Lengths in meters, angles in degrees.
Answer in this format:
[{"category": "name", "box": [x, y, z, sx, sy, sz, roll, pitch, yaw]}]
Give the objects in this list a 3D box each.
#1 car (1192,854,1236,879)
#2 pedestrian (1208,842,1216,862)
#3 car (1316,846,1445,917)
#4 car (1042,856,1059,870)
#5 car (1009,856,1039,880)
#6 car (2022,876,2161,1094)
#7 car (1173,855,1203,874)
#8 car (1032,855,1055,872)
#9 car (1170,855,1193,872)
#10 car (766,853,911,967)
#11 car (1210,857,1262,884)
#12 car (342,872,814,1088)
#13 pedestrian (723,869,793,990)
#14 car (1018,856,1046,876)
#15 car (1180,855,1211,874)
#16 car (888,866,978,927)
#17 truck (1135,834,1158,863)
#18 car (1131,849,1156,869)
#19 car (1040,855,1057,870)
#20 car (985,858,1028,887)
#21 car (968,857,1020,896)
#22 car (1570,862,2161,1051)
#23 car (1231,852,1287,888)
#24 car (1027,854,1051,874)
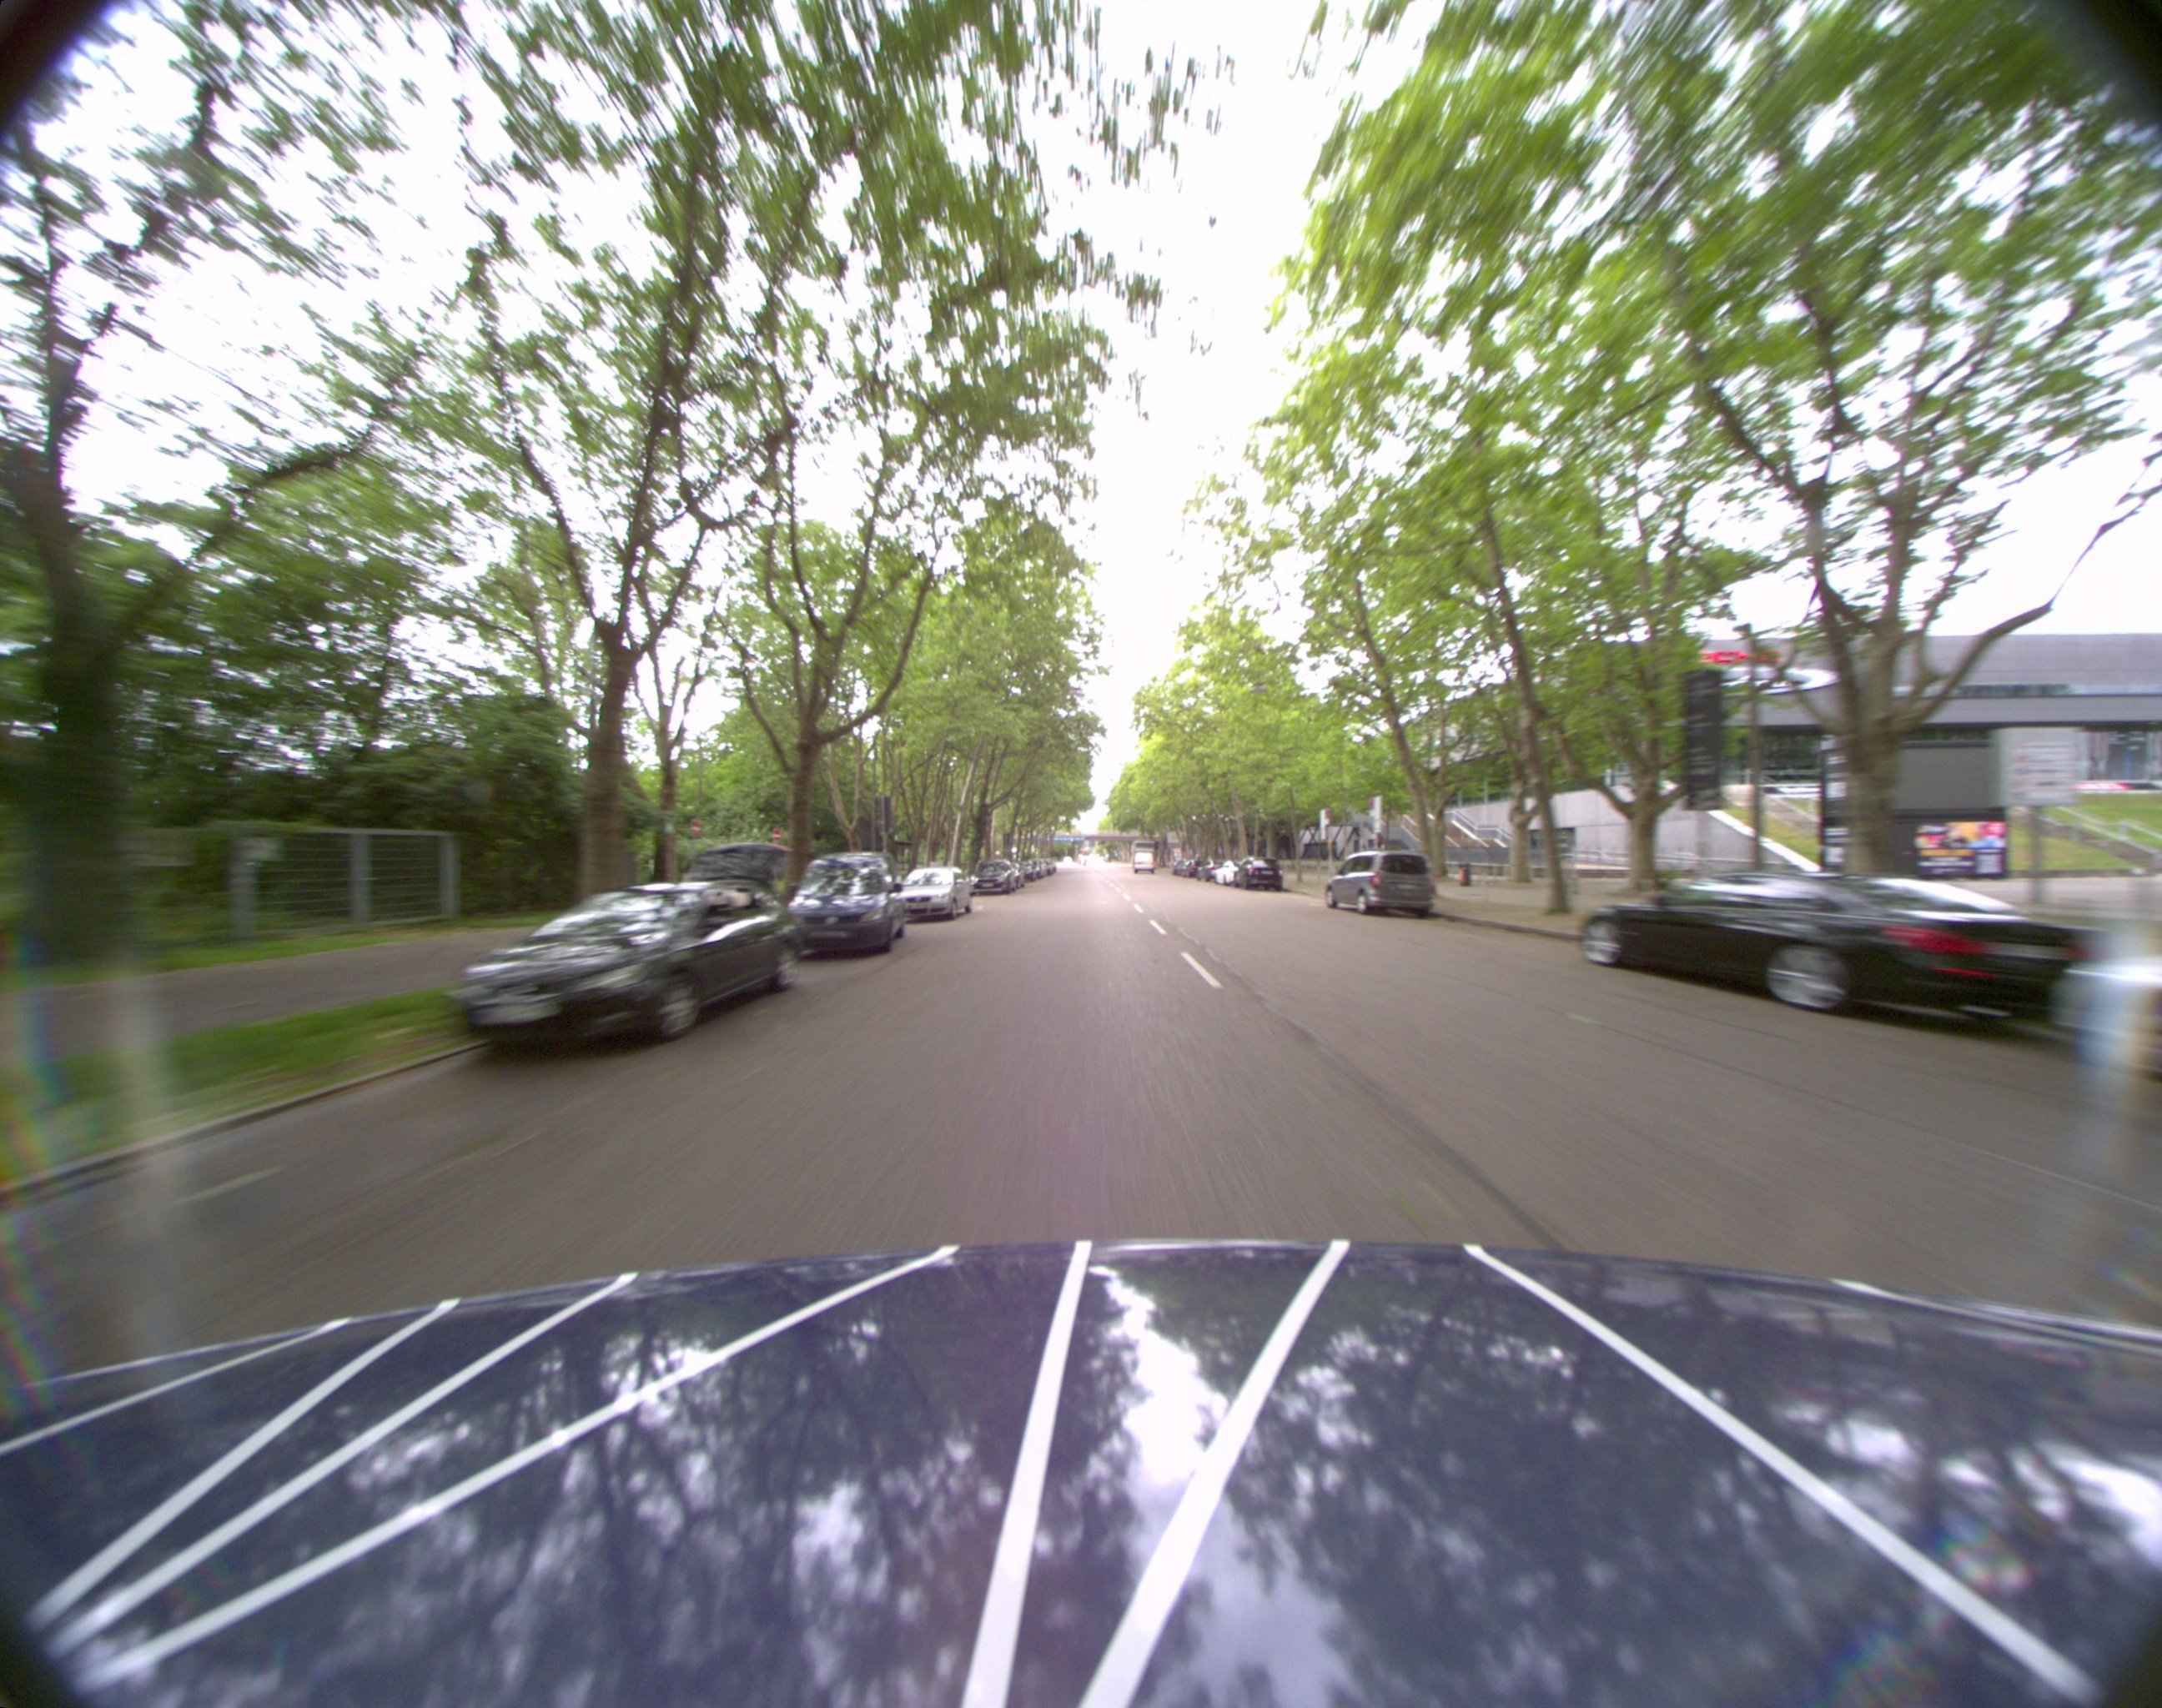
[{"category": "car", "box": [8.567, 0.774, 49.321, 1.824, 1.476, 4.992, 1, 0, -2]}, {"category": "pedestrian", "box": [12.063, -0.164, 70.069, 0.508, 1.829, 0.826, -1, 0, -6]}, {"category": "car", "box": [8.616, 0.710, 22.324, 1.900, 1.785, 4.612, 2, 1, 0]}, {"category": "car", "box": [-3.552, 1.014, 88.216, 1.734, 1.460, 4.079, -3, 0, 0]}, {"category": "car", "box": [-3.991, 0.942, 53.759, 1.781, 1.544, 4.396, -3, 0, 0]}, {"category": "car", "box": [8.225, 0.938, 3.765, 1.838, 1.447, 4.230, 2, 0, 1]}, {"category": "car", "box": [9.141, 0.843, 64.988, 1.699, 1.469, 3.649, 3, 0, -5]}, {"category": "car", "box": [-3.501, 0.872, 72.042, 1.734, 1.468, 4.982, -3, 0, 1]}, {"category": "car", "box": [9.184, 0.854, 69.641, 1.698, 1.354, 4.001, 4, 0, 3]}, {"category": "car", "box": [-4.442, 0.924, 14.644, 1.848, 1.772, 4.444, -3, 0, -8]}, {"category": "car", "box": [8.619, 0.866, 42.641, 1.820, 1.354, 5.005, 1, 0, 0]}, {"category": "car", "box": [-4.632, 1.022, 8.027, 1.998, 1.469, 4.371, -2, 0, 0]}, {"category": "pedestrian", "box": [-4.515, 1.033, 10.661, 0.635, 1.617, 0.742, -1, 1, 0]}, {"category": "car", "box": [-3.869, 0.906, 60.505, 1.743, 1.462, 4.151, -3, 0, 2]}, {"category": "car", "box": [8.984, 0.812, 59.996, 1.712, 1.374, 4.331, 3, 0, 0]}, {"category": "car", "box": [-4.136, 1.134, 21.838, 1.623, 1.453, 3.946, -3, 0, 2]}, {"category": "truck", "box": [9.335, -0.815, 109.453, 2.916, 3.846, 9.467, 1, 1, 3]}, {"category": "car", "box": [6.044, 0.479, 73.956, 2.064, 1.950, 5.466, 0, 0, 1]}, {"category": "car", "box": [-3.478, 0.916, 82.201, 1.735, 1.560, 4.079, -3, 0, -1]}, {"category": "car", "box": [-4.003, 0.967, 41.601, 1.780, 1.410, 4.287, -3, 0, 1]}, {"category": "car", "box": [-3.994, 0.975, 35.499, 1.834, 1.593, 4.467, -3, 0, 0]}, {"category": "car", "box": [8.394, 0.886, 8.932, 2.089, 1.521, 5.146, 1, 0, 2]}, {"category": "car", "box": [8.665, 0.742, 37.332, 1.822, 1.584, 4.345, 2, 0, 3]}, {"category": "car", "box": [-3.688, 0.874, 67.147, 1.783, 1.608, 4.224, -3, 0, 1]}]
